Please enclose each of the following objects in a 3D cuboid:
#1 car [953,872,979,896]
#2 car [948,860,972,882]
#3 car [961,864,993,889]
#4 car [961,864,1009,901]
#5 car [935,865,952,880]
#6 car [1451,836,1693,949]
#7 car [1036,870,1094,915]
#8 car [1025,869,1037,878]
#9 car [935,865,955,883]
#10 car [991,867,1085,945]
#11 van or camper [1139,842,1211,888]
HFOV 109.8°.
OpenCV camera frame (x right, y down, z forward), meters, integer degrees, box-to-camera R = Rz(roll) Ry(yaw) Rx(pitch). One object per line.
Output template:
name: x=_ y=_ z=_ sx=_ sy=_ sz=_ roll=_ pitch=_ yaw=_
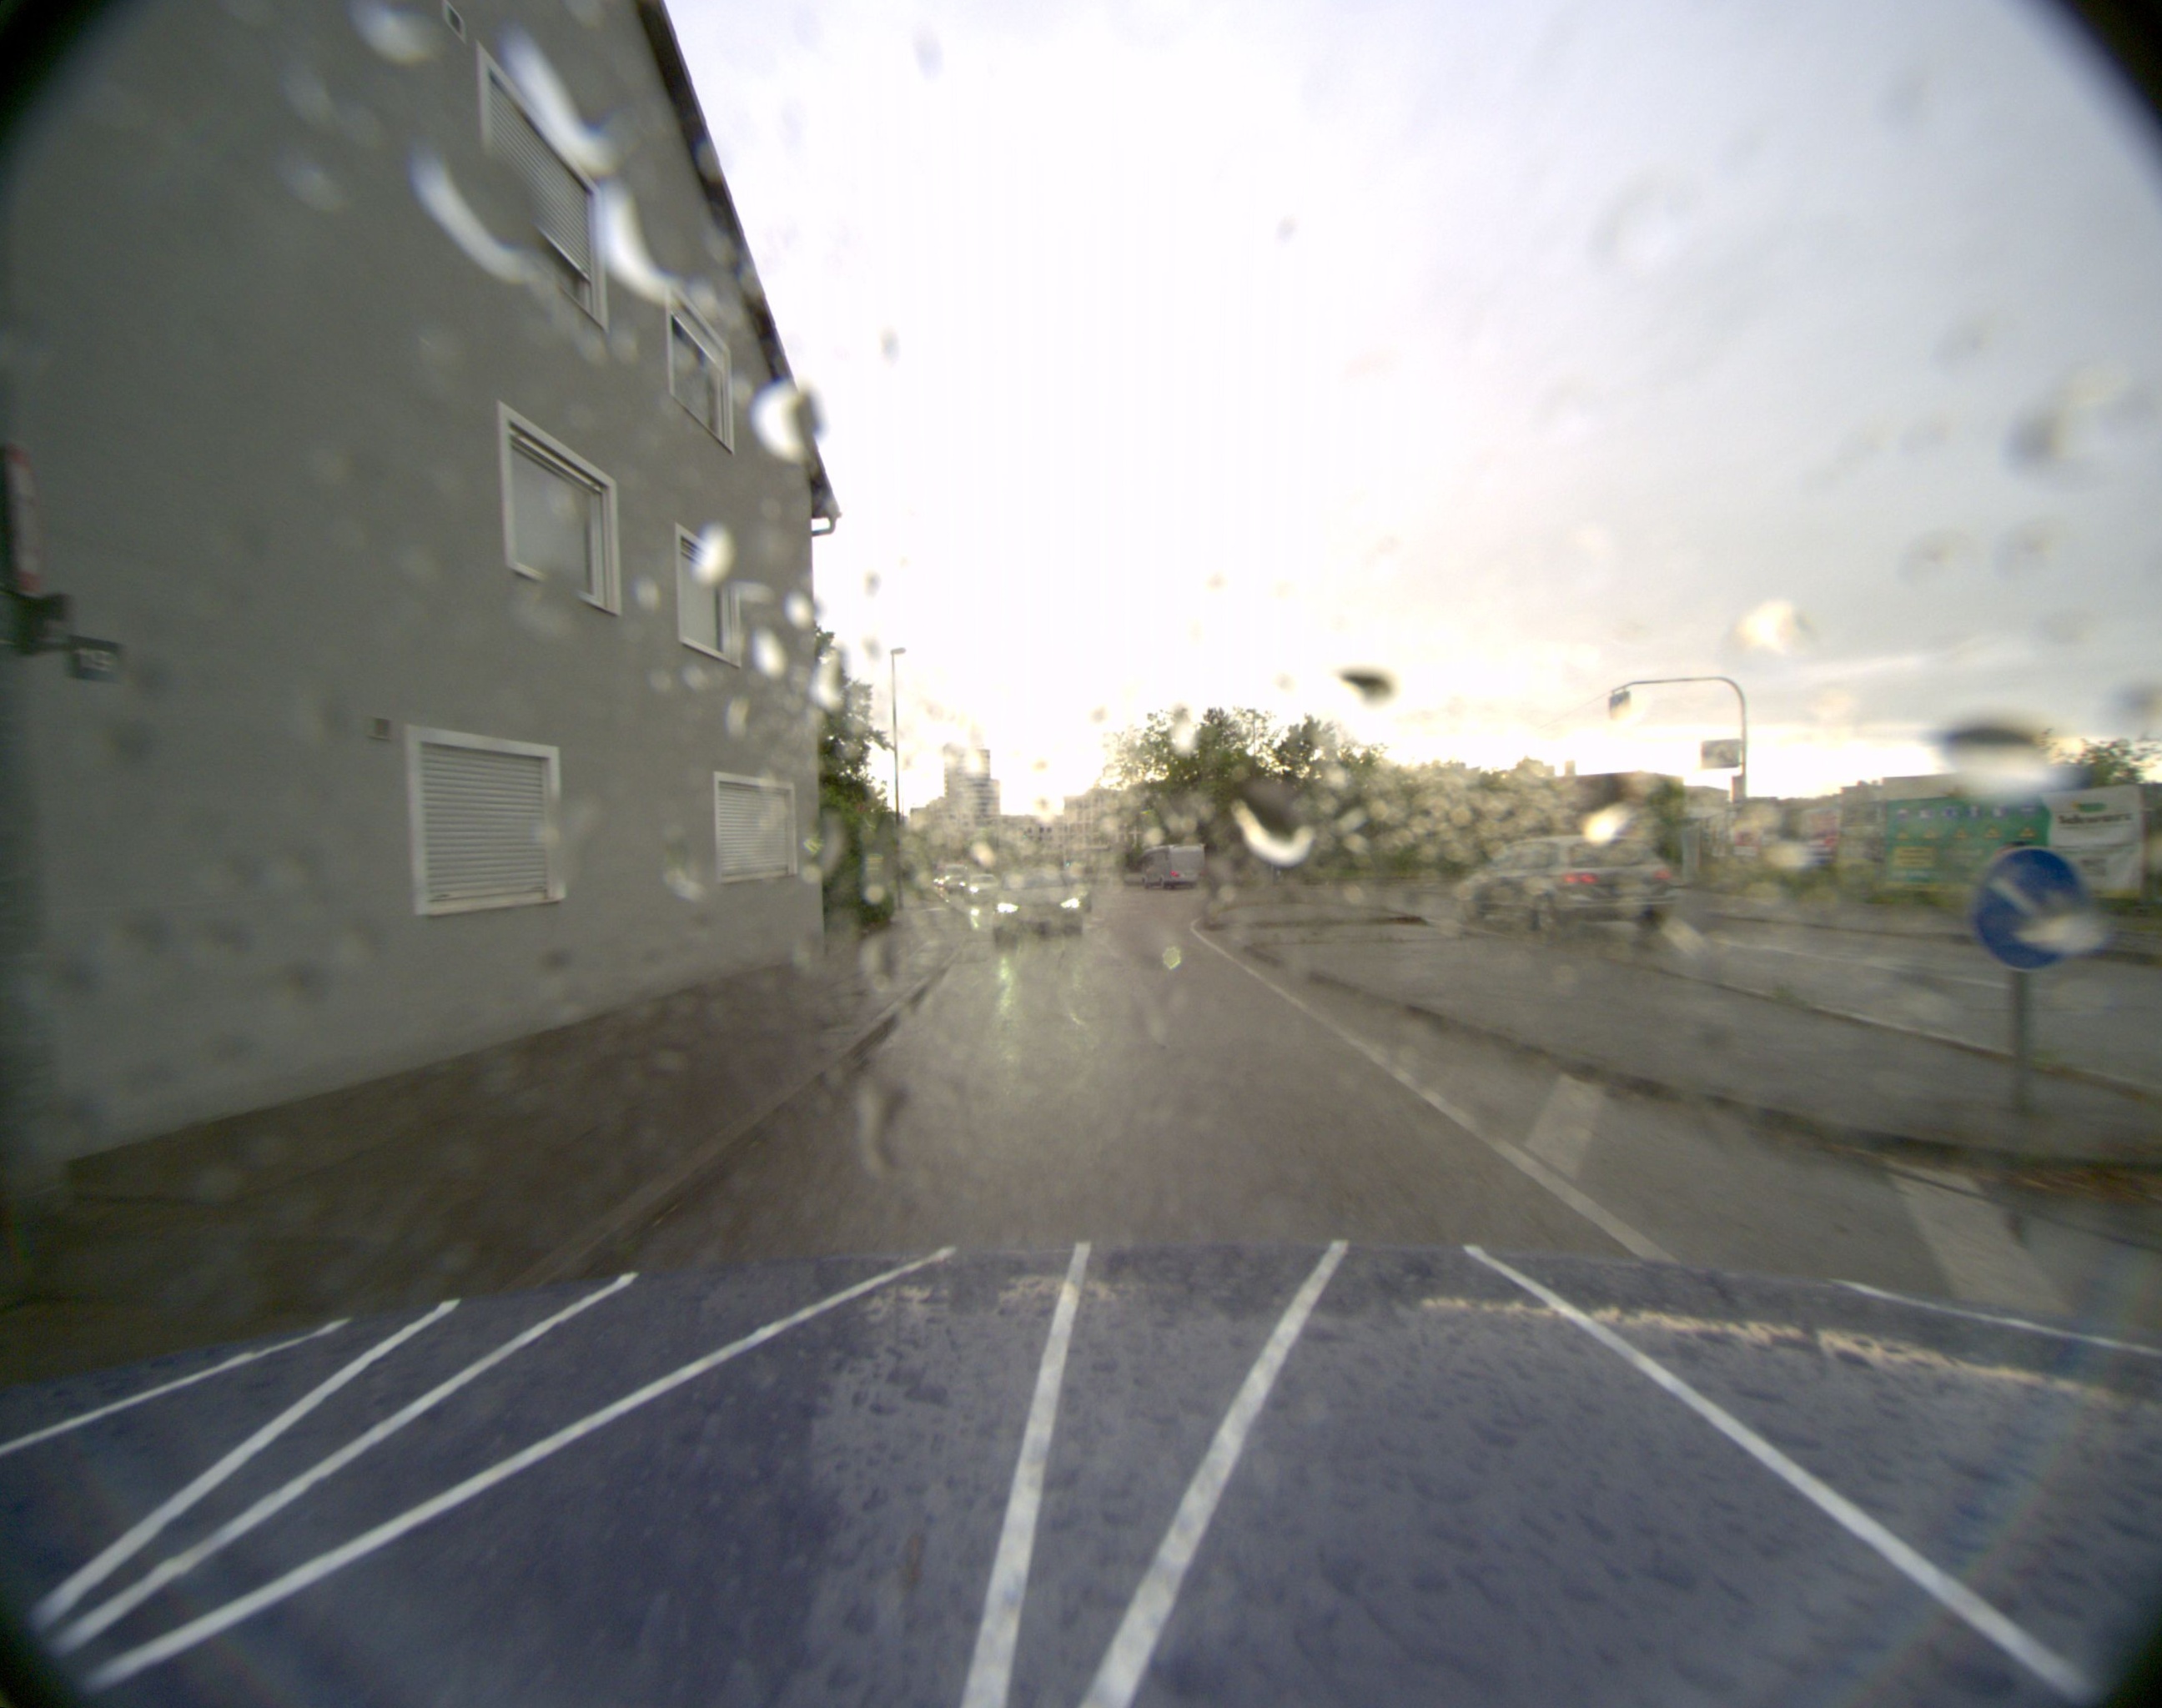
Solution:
car: x=-9.275 y=2.397 z=61.095 sx=1.902 sy=1.713 sz=4.461 roll=-2 pitch=-2 yaw=-10
car: x=-11.824 y=1.671 z=73.911 sx=2.032 sy=1.924 sz=4.941 roll=-2 pitch=-2 yaw=-12
car: x=-6.884 y=1.499 z=49.987 sx=1.902 sy=1.487 sz=4.942 roll=-2 pitch=-1 yaw=-9
car: x=-5.142 y=1.458 z=40.149 sx=1.902 sy=1.649 sz=4.938 roll=-4 pitch=1 yaw=-14
car: x=-18.951 y=2.512 z=104.699 sx=2.032 sy=1.924 sz=4.941 roll=-2 pitch=-2 yaw=-12
car: x=8.205 y=0.535 z=13.214 sx=1.647 sy=1.543 sz=4.155 roll=-4 pitch=1 yaw=4
car: x=-0.479 y=1.300 z=26.957 sx=1.790 sy=1.339 sz=4.945 roll=-2 pitch=-1 yaw=1
car: x=-9.116 y=3.537 z=138.692 sx=1.819 sy=1.506 sz=3.997 roll=-2 pitch=0 yaw=-9
car: x=-15.473 y=2.268 z=86.404 sx=2.032 sy=1.924 sz=4.941 roll=-2 pitch=-2 yaw=-12
car: x=-1.157 y=1.109 z=17.994 sx=1.839 sy=1.505 sz=4.846 roll=-3 pitch=-1 yaw=-7
van or camper: x=5.817 y=0.687 z=48.348 sx=2.375 sy=2.640 sz=7.013 roll=-2 pitch=0 yaw=-11
